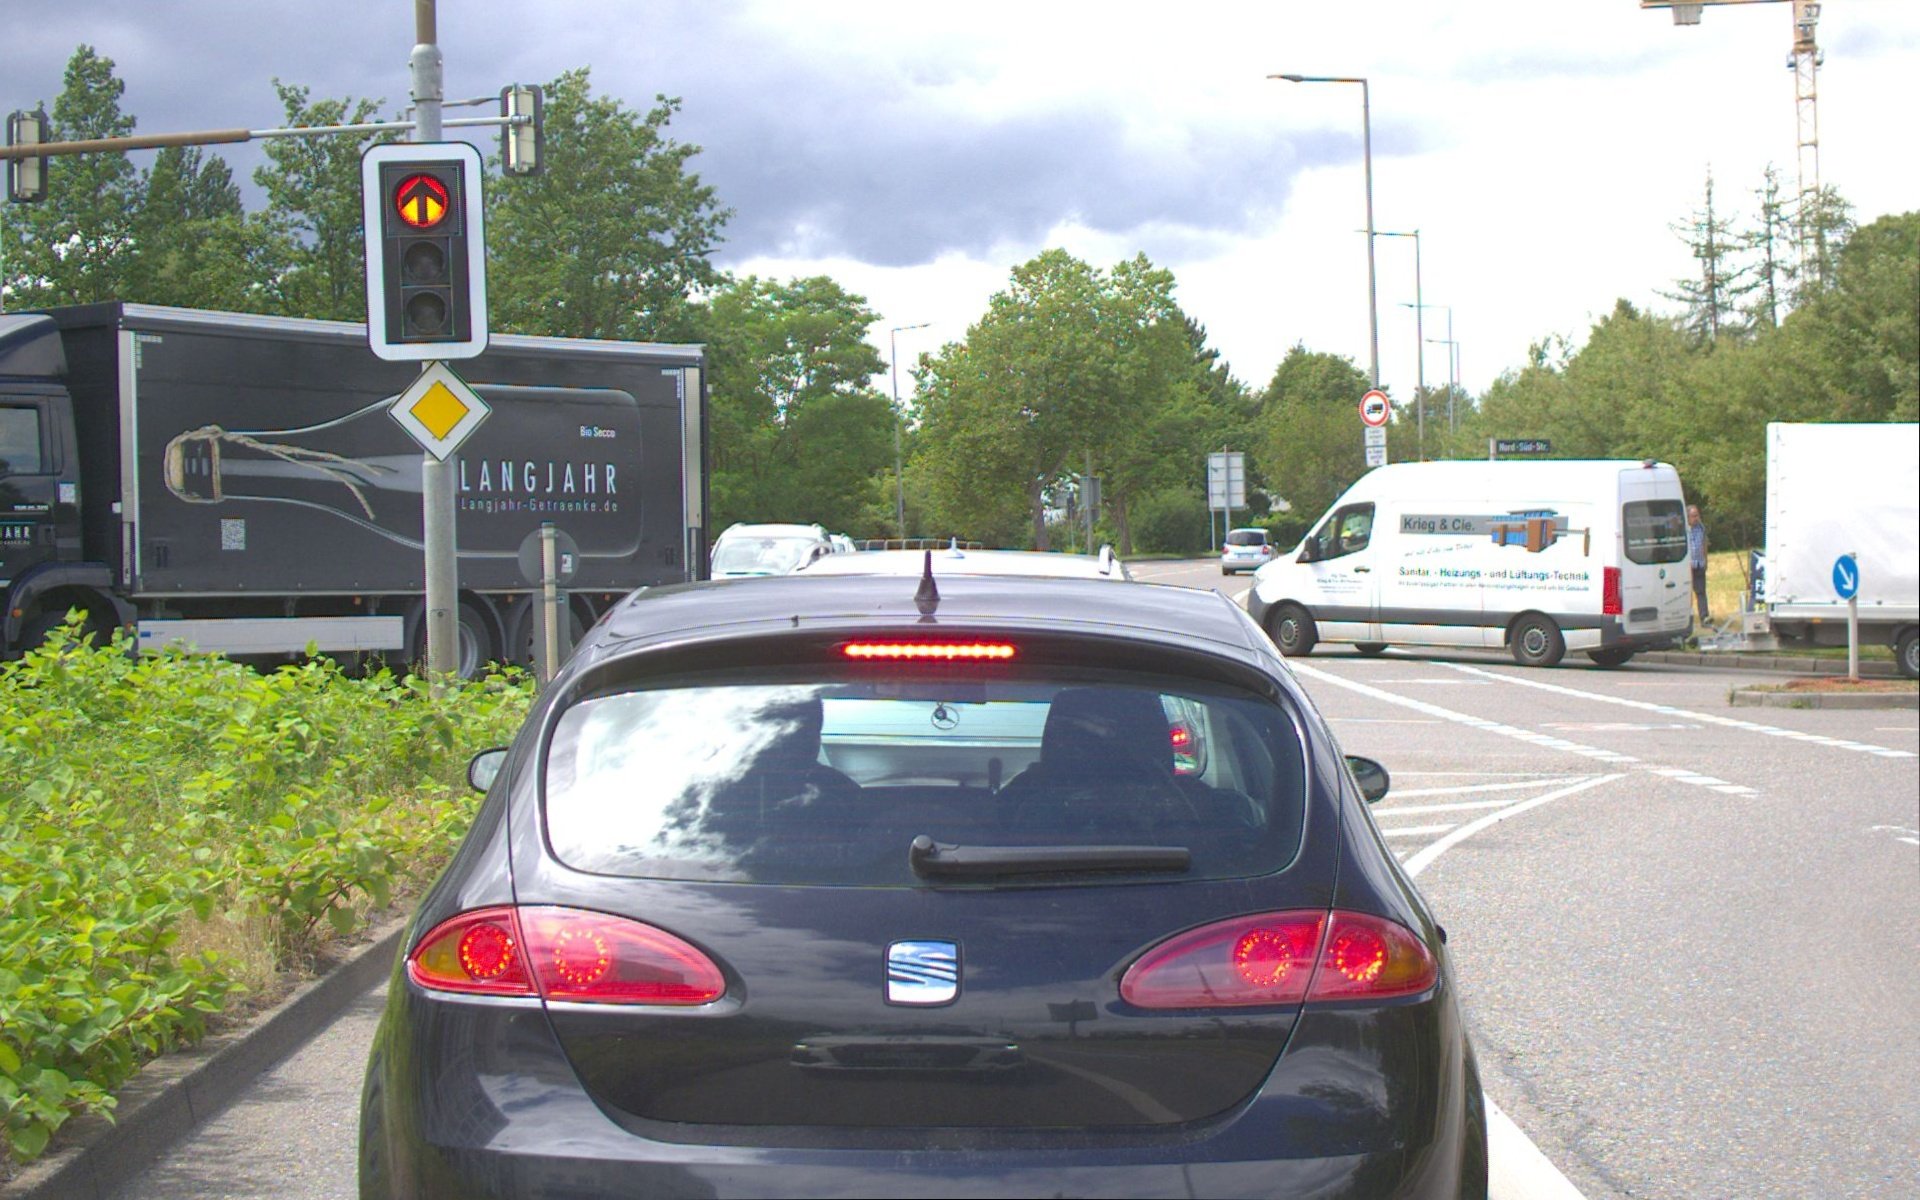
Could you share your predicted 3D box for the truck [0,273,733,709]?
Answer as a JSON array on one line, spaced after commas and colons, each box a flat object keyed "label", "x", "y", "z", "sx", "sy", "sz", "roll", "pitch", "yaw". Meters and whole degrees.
[{"label": "truck", "x": -6.524, "y": -0.946, "z": 31.658, "sx": 3.175, "sy": 3.506, "sz": 9.505, "roll": 2, "pitch": 2, "yaw": 39}]

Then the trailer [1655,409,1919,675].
[{"label": "trailer", "x": 11.312, "y": -0.674, "z": 40.815, "sx": 5.575, "sy": 3.063, "sz": 2.496, "roll": 1, "pitch": 1, "yaw": 23}]

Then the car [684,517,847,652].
[{"label": "car", "x": -2.563, "y": -0.254, "z": 46.210, "sx": 1.820, "sy": 1.681, "sz": 4.645, "roll": 1, "pitch": 1, "yaw": 1}]

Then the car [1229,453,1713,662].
[{"label": "car", "x": 6.446, "y": -0.558, "z": 43.890, "sx": 5.829, "sy": 2.509, "sz": 2.128, "roll": 1, "pitch": 1, "yaw": 40}]

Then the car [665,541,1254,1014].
[{"label": "car", "x": 0.018, "y": 0.540, "z": 12.713, "sx": 1.834, "sy": 1.462, "sz": 3.751, "roll": 1, "pitch": 1, "yaw": 1}]

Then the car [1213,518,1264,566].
[{"label": "car", "x": 9.506, "y": -1.956, "z": 117.260, "sx": 1.667, "sy": 1.590, "sz": 3.999, "roll": 1, "pitch": 1, "yaw": 5}]

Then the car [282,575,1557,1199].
[{"label": "car", "x": -0.072, "y": 0.691, "z": 6.368, "sx": 1.711, "sy": 1.412, "sz": 3.459, "roll": 1, "pitch": 1, "yaw": 0}]

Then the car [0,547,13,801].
[{"label": "car", "x": -6.376, "y": 0.455, "z": 17.714, "sx": 1.689, "sy": 1.425, "sz": 3.635, "roll": -1, "pitch": 1, "yaw": 5}]

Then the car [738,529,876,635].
[{"label": "car", "x": -2.282, "y": -0.308, "z": 52.289, "sx": 1.660, "sy": 1.513, "sz": 4.084, "roll": 1, "pitch": 1, "yaw": 3}]
